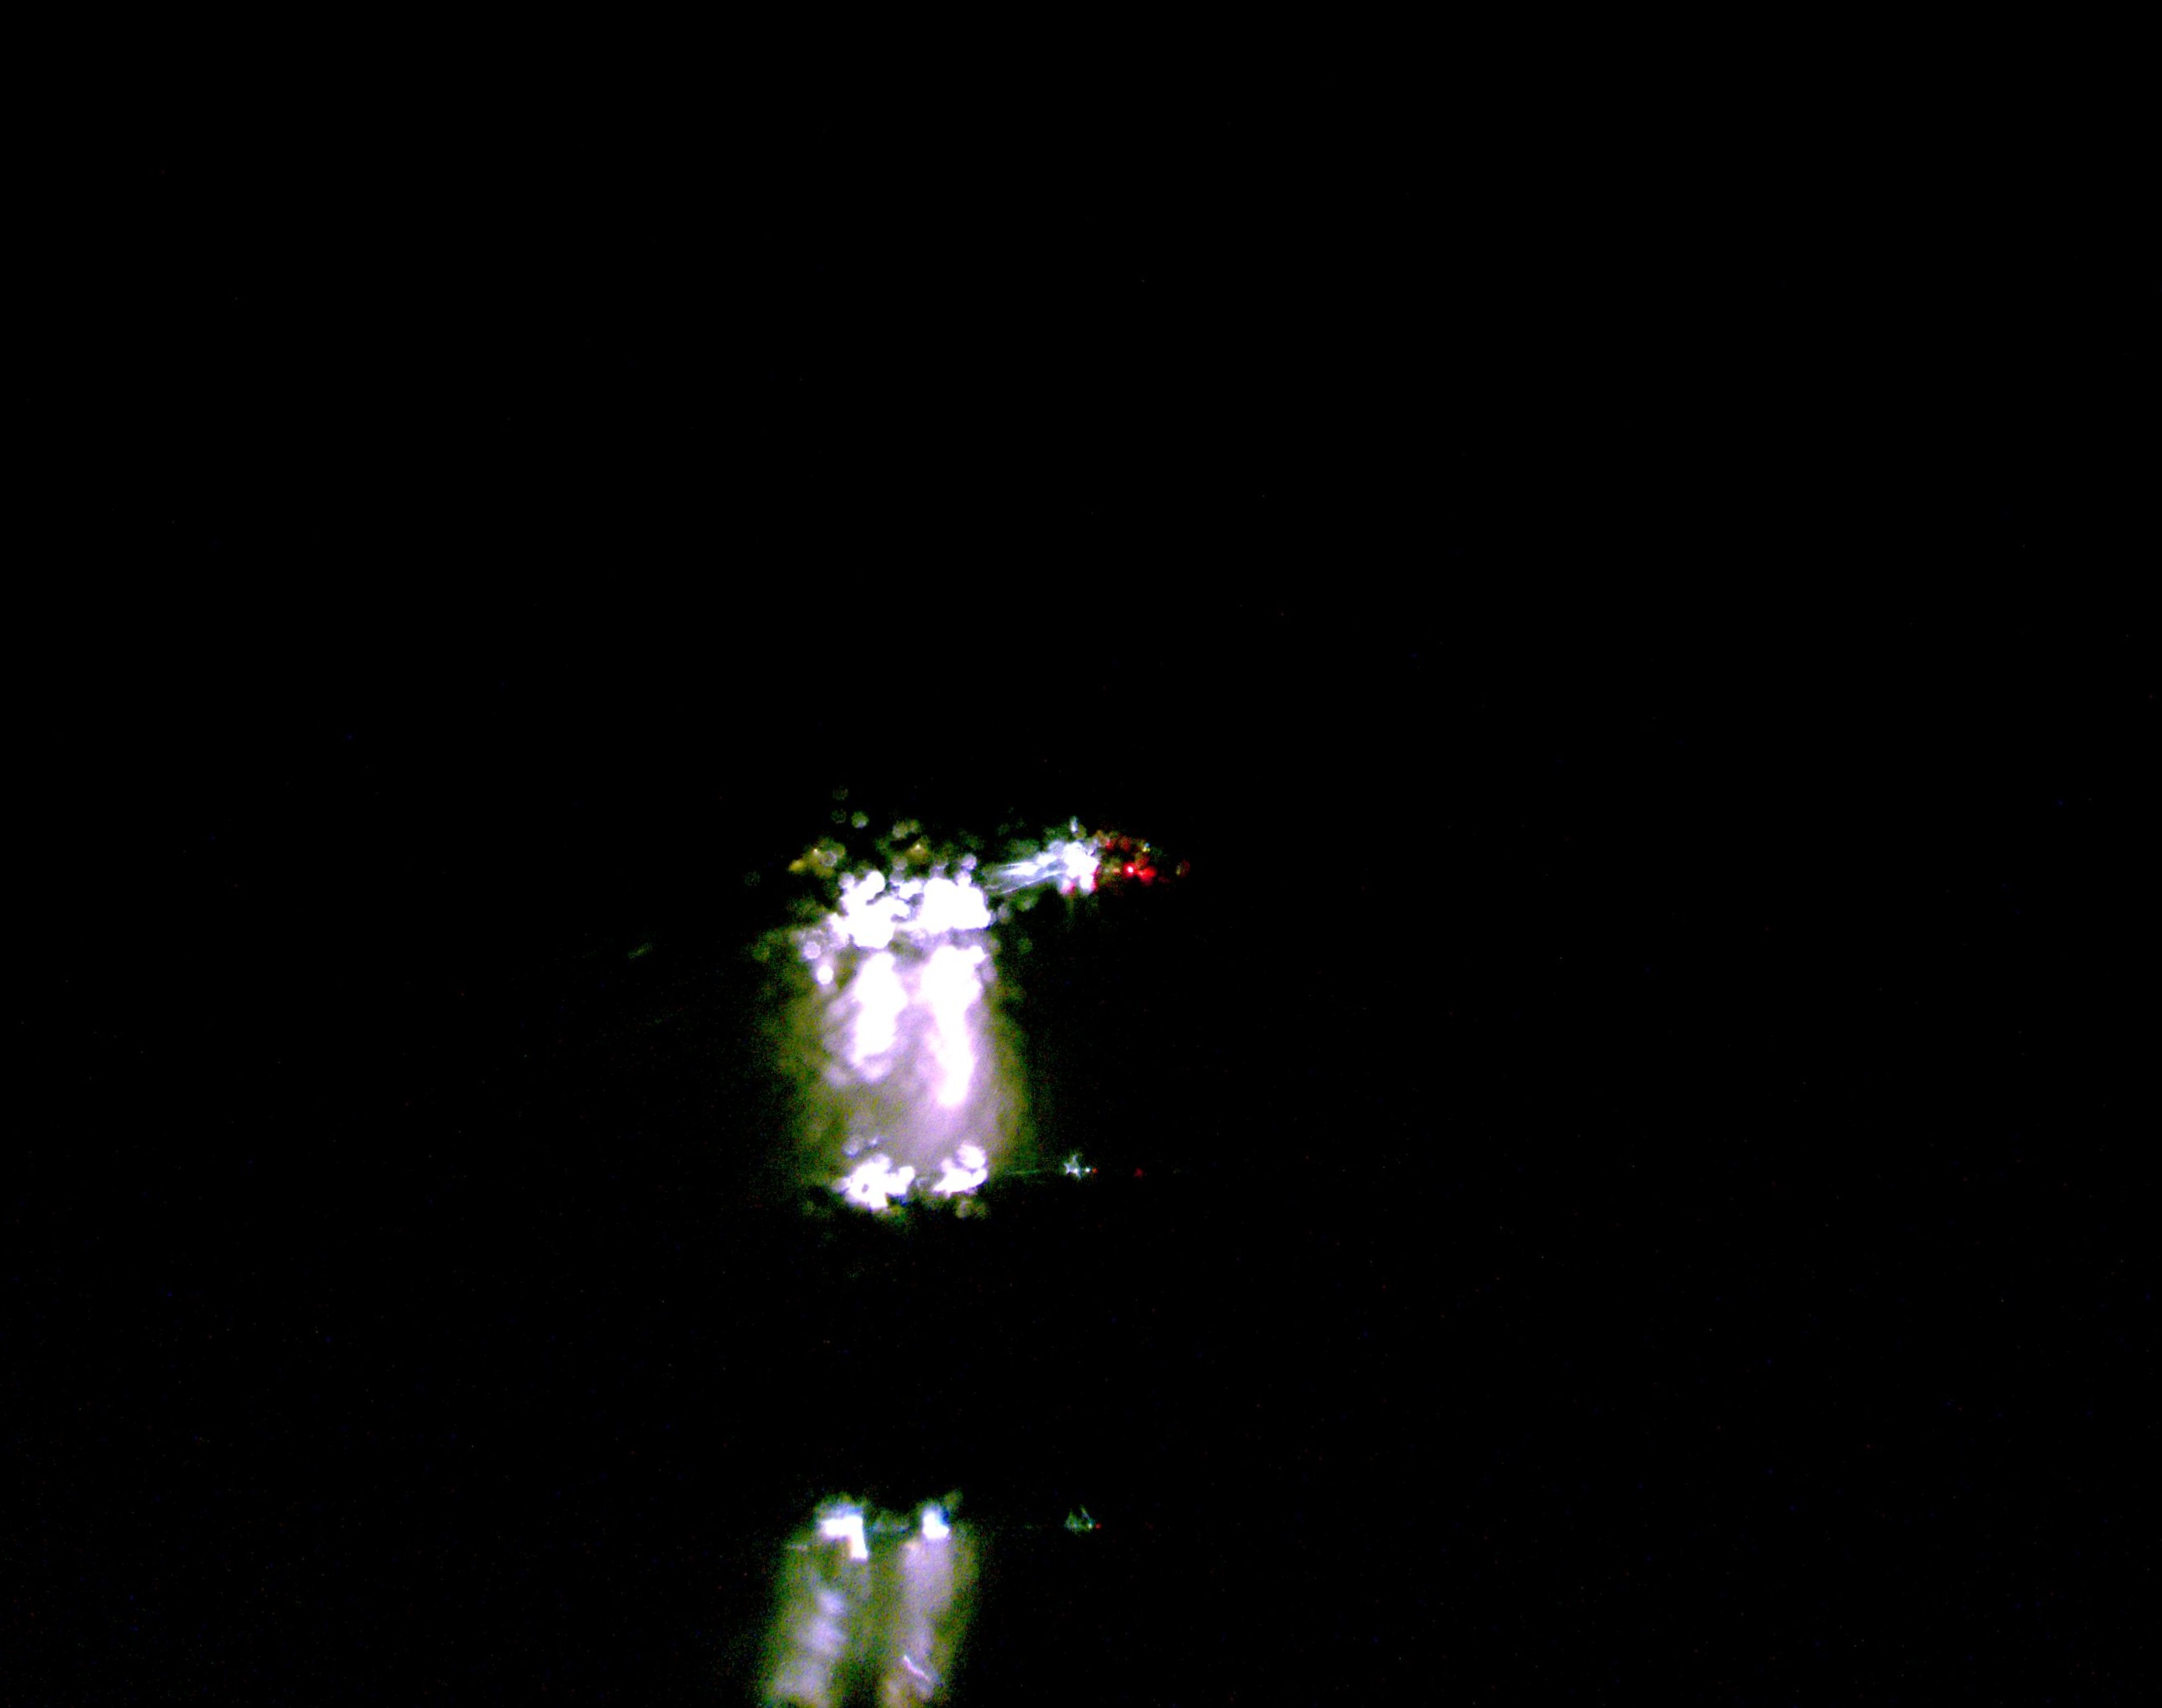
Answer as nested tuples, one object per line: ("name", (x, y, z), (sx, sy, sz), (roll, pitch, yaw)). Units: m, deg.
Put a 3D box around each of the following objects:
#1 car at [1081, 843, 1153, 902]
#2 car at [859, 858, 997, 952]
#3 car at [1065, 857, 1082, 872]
("car", (1.302, 0.649, 30.145), (2.448, 1.958, 4.913), (-1, -1, 2))
("car", (-2.912, 0.909, 16.555), (1.759, 1.519, 4.491), (-3, 0, 1))
("car", (-0.852, 1.187, 91.910), (1.789, 1.538, 3.800), (-3, 0, 0))
